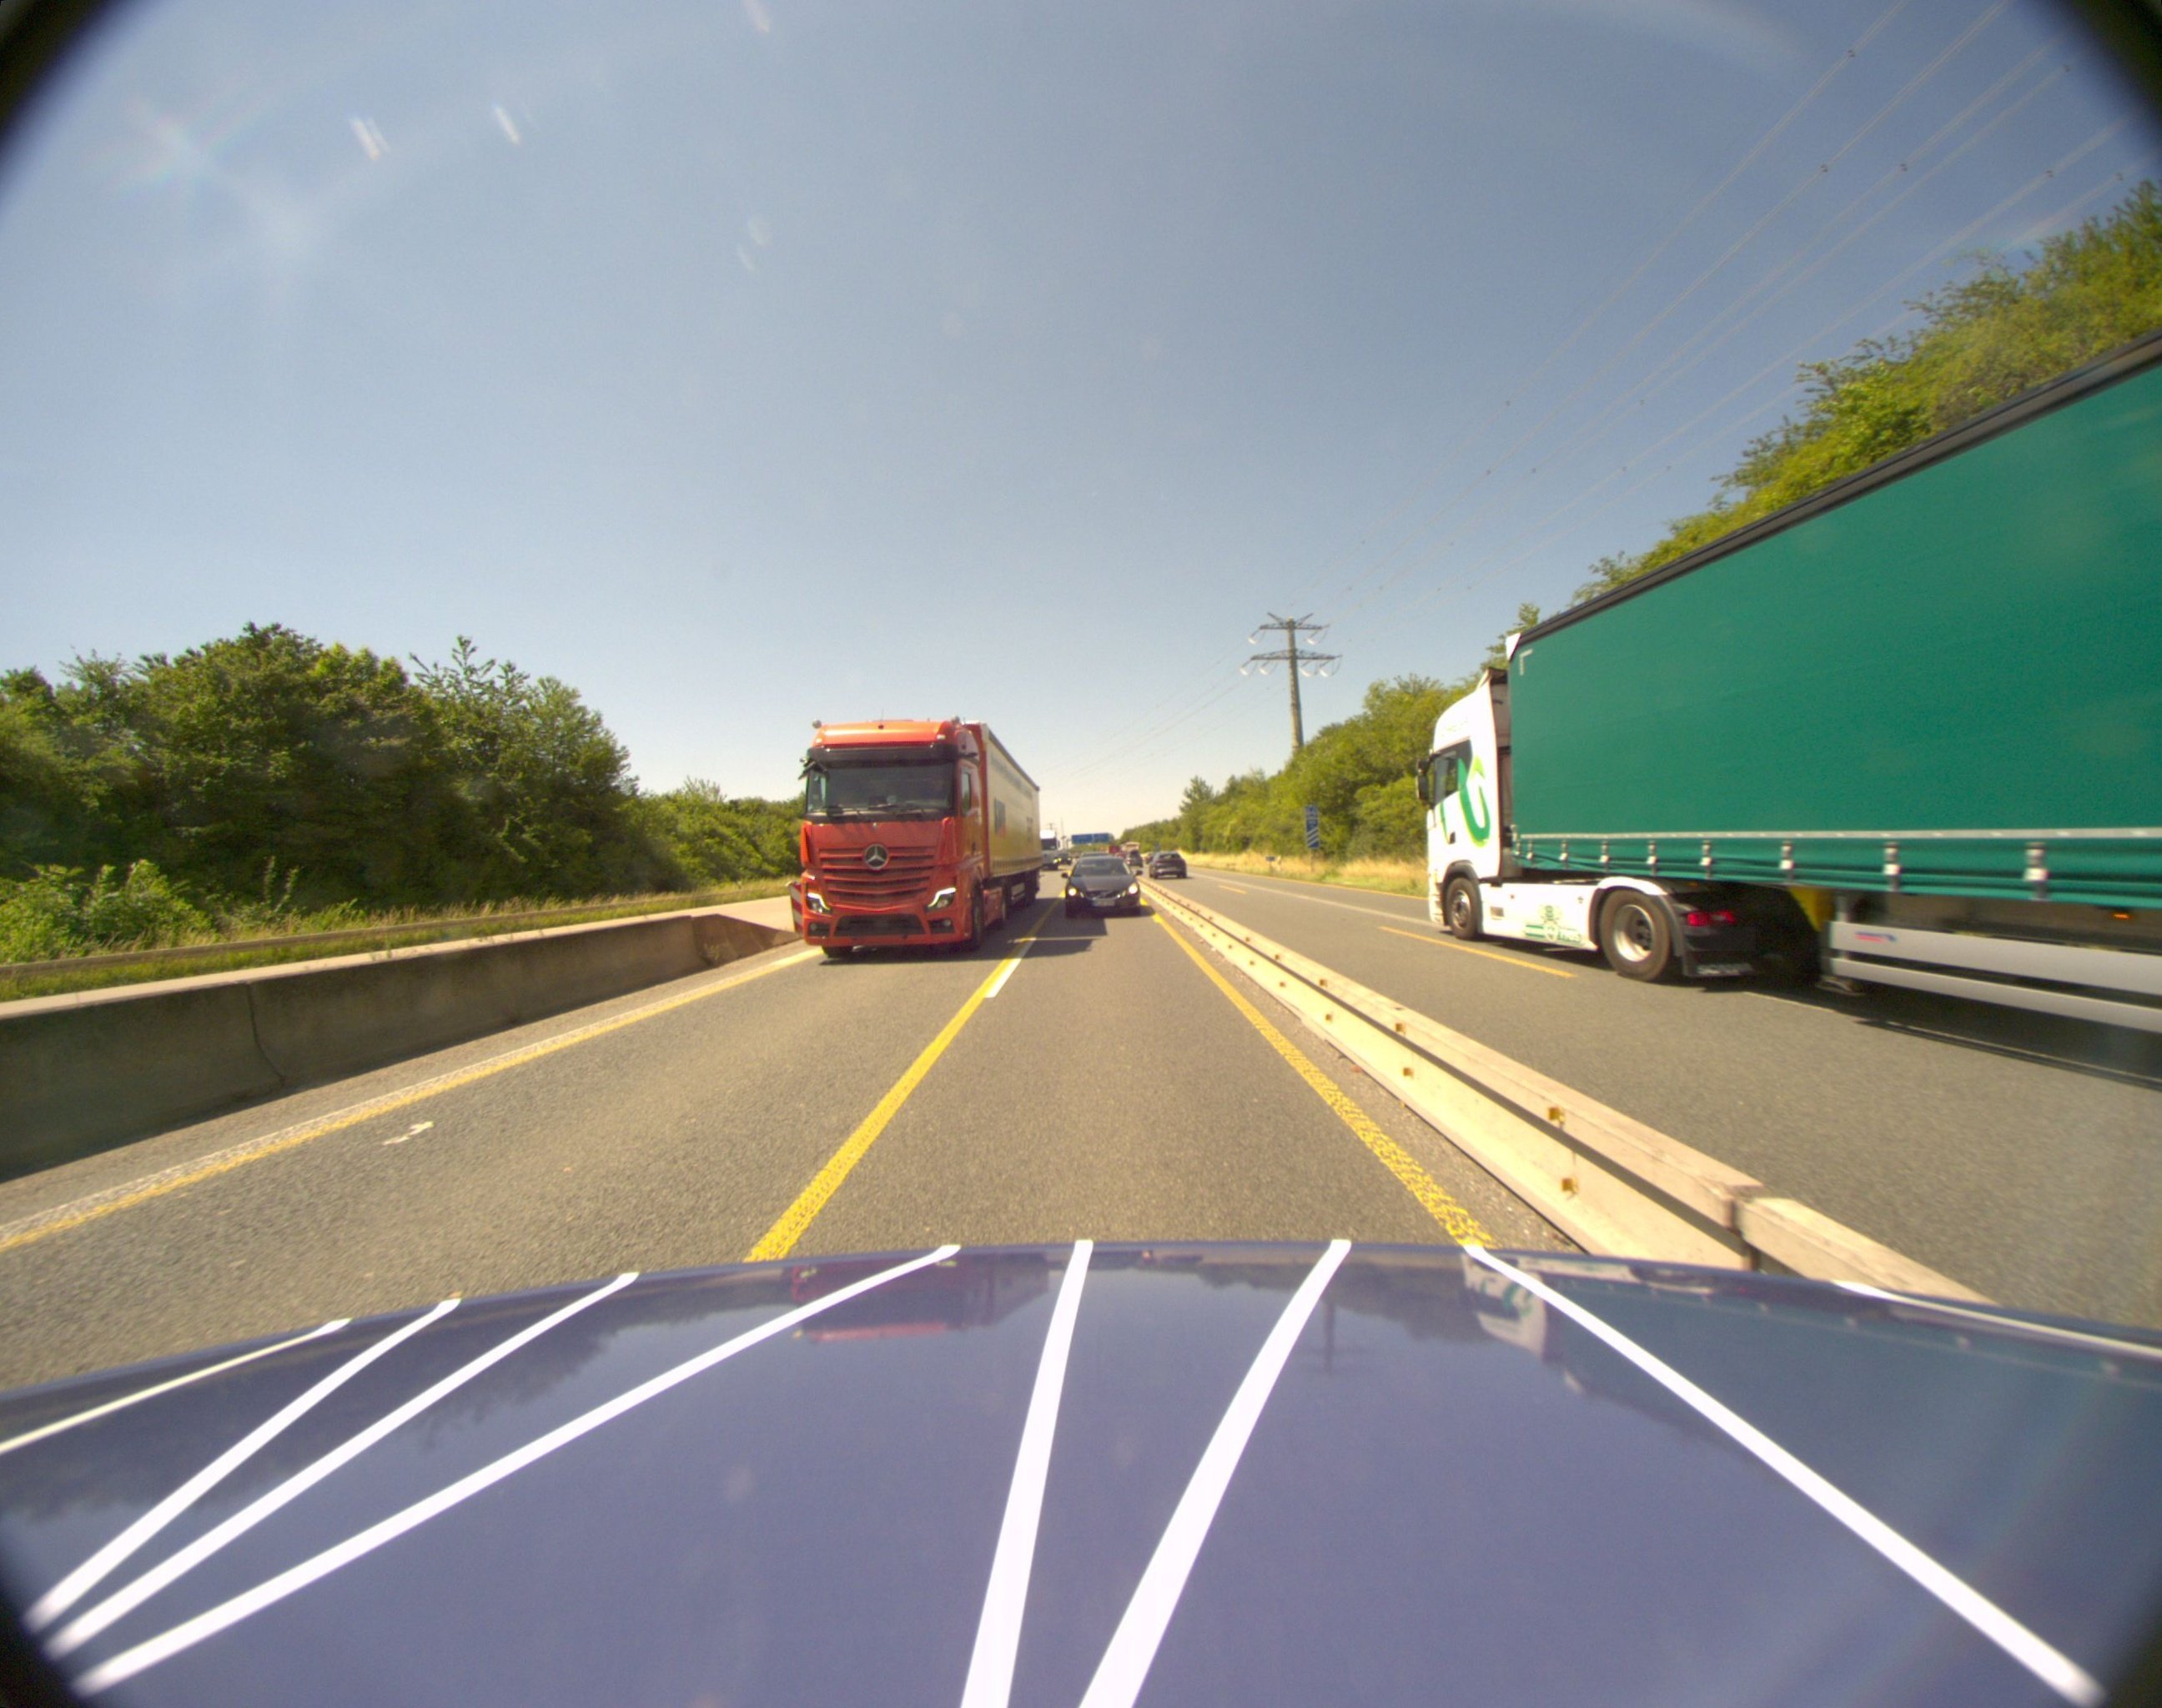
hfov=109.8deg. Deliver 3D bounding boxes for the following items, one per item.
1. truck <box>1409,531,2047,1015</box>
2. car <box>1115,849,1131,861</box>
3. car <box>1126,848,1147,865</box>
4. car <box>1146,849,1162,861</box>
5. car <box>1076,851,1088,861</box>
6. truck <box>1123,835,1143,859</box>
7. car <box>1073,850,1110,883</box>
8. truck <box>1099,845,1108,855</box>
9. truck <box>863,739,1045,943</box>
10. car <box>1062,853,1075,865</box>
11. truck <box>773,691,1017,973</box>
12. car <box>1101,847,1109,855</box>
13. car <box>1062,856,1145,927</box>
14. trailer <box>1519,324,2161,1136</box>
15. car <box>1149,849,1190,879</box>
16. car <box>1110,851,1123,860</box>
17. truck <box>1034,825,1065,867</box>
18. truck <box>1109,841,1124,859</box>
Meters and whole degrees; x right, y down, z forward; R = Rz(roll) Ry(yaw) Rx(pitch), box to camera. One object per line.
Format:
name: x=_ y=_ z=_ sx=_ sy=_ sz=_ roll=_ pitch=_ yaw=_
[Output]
truck: x=6.988 y=-0.714 z=9.679 sx=2.902 sy=4.094 sz=6.020 roll=-3 pitch=1 yaw=1
car: x=5.656 y=0.108 z=102.300 sx=1.904 sy=1.580 sz=4.276 roll=-2 pitch=1 yaw=2
car: x=5.577 y=0.226 z=76.794 sx=1.904 sy=1.507 sz=4.276 roll=-2 pitch=1 yaw=2
car: x=9.025 y=0.151 z=94.539 sx=1.685 sy=1.413 sz=3.642 roll=-2 pitch=1 yaw=1
car: x=0.097 y=0.289 z=118.986 sx=1.767 sy=1.523 sz=4.698 roll=-2 pitch=1 yaw=0
truck: x=8.965 y=-1.200 z=132.796 sx=2.942 sy=3.754 sz=11.379 roll=-4 pitch=0 yaw=2
car: x=0.591 y=0.596 z=39.994 sx=1.767 sy=1.523 sz=4.699 roll=-2 pitch=1 yaw=2
truck: x=7.879 y=-1.363 z=264.212 sx=2.810 sy=3.317 sz=11.378 roll=-4 pitch=0 yaw=1
truck: x=-2.849 y=-0.346 z=21.831 sx=2.689 sy=3.987 sz=13.217 roll=-2 pitch=1 yaw=1
car: x=-1.804 y=0.694 z=110.707 sx=1.767 sy=1.523 sz=4.697 roll=-2 pitch=1 yaw=-1
truck: x=-2.968 y=-0.356 z=14.368 sx=2.689 sy=3.987 sz=6.724 roll=-2 pitch=1 yaw=1
car: x=6.260 y=-0.782 z=197.123 sx=1.855 sy=2.044 sz=4.348 roll=-2 pitch=1 yaw=1
car: x=0.560 y=0.839 z=18.989 sx=1.767 sy=1.411 sz=4.699 roll=-2 pitch=1 yaw=2
trailer: x=6.920 y=-0.650 z=2.925 sx=2.899 sy=4.101 sz=13.243 roll=-2 pitch=0 yaw=1
car: x=4.911 y=0.517 z=42.585 sx=1.904 sy=1.496 sz=4.276 roll=-2 pitch=1 yaw=2
car: x=5.828 y=0.257 z=124.386 sx=1.855 sy=1.413 sz=4.348 roll=-2 pitch=1 yaw=1
truck: x=-3.180 y=-0.838 z=80.140 sx=2.481 sy=4.030 sz=13.109 roll=-2 pitch=0 yaw=0
truck: x=8.080 y=-0.961 z=175.406 sx=2.810 sy=3.754 sz=11.378 roll=-4 pitch=0 yaw=1
